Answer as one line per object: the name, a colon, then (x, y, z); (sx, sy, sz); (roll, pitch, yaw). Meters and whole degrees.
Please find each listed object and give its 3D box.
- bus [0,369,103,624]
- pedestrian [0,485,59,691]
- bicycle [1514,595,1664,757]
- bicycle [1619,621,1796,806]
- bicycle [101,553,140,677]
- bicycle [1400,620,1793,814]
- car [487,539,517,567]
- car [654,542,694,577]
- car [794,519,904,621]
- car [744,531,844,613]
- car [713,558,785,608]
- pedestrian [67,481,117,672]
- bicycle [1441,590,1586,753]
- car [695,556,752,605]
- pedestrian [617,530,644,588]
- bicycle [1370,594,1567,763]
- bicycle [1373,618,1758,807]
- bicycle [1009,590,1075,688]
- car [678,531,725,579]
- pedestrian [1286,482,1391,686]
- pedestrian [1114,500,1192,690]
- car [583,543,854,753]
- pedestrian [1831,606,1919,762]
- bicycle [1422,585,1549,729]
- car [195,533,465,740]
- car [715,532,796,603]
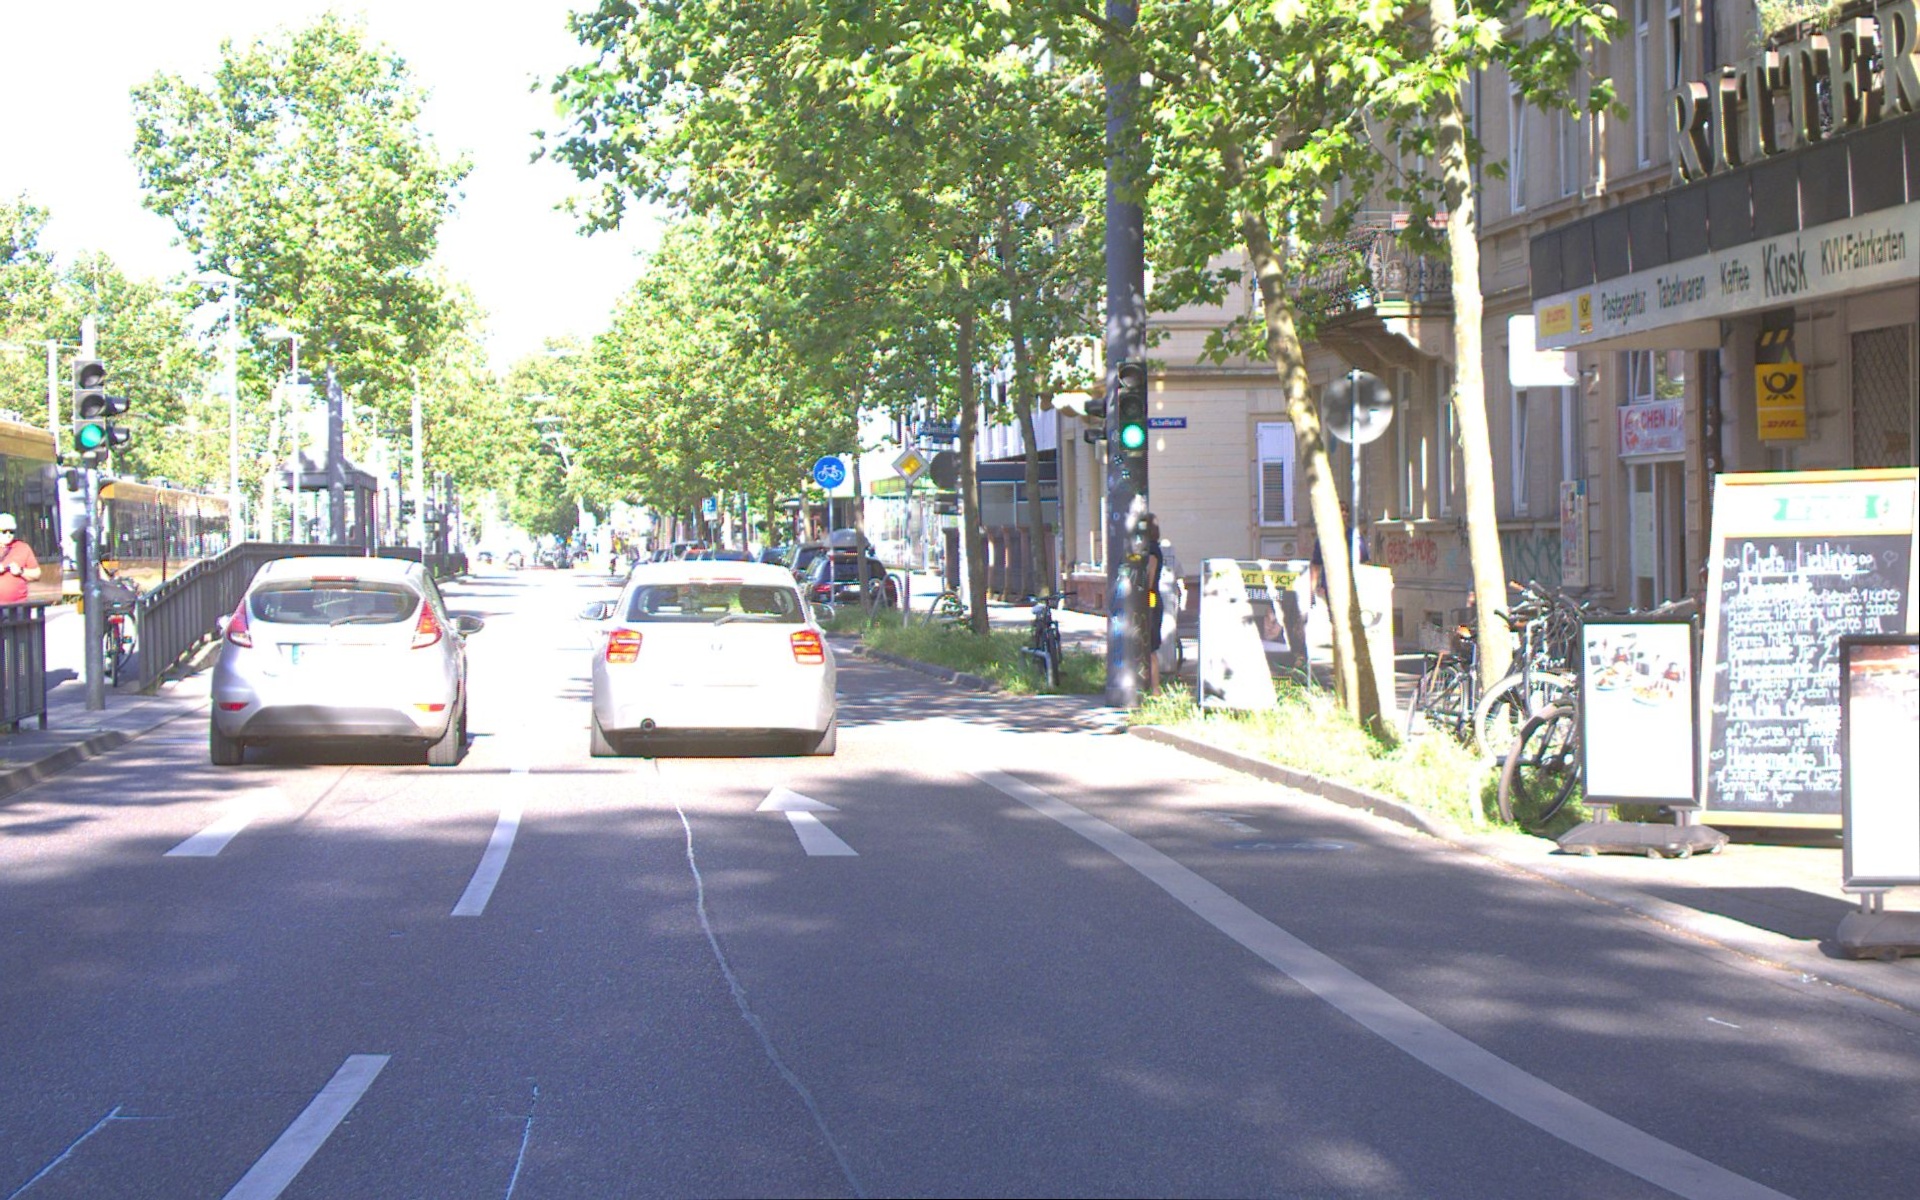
bus: (-14.824, -1.440, 50.344); (2.868, 3.432, 11.613); (-1, 1, -7)
pedestrian: (-9.149, -0.115, 32.507); (1.072, 1.909, 1.127); (-1, 1, -9)
bicycle: (4.117, 0.480, 22.592); (0.442, 0.990, 1.689); (1, 1, -8)
bicycle: (4.364, 0.646, 20.178); (0.442, 0.990, 1.689); (1, 1, -8)
bicycle: (-8.475, 0.135, 34.730); (0.328, 1.210, 1.829); (-1, 1, -13)
bicycle: (3.386, 0.621, 18.322); (2.003, 0.990, 0.444); (1, 1, -9)
car: (-33.031, -3.399, 248.082); (1.993, 2.007, 4.001); (1, 1, -7)
car: (-13.036, -1.872, 156.568); (1.700, 1.529, 3.717); (1, 1, -7)
car: (-2.241, -0.615, 68.239); (1.754, 1.958, 4.738); (0, 1, -7)
car: (-3.627, -0.636, 74.592); (1.797, 1.694, 4.738); (-1, 1, -7)
car: (-6.750, -0.523, 109.567); (1.993, 1.504, 4.598); (1, 0, -7)
pedestrian: (-8.726, -0.240, 34.580); (0.450, 1.896, 0.585); (-1, 1, -14)
bicycle: (3.607, 0.449, 22.506); (0.442, 0.990, 1.689); (1, 1, -8)
car: (-7.908, -0.653, 114.759); (1.669, 1.546, 4.001); (1, 1, -7)
pedestrian: (-11.529, -1.423, 120.329); (0.838, 2.007, 0.648); (1, 1, 0)
bicycle: (3.198, 0.477, 21.768); (0.442, 0.990, 1.689); (1, 1, -21)
bicycle: (3.308, 0.613, 18.803); (2.013, 0.990, 0.444); (1, 1, -9)
bicycle: (0.853, 0.401, 36.155); (0.427, 0.967, 1.751); (1, 1, -7)
car: (-10.569, -1.818, 140.274); (1.724, 1.874, 4.001); (1, 0, -7)
pedestrian: (3.793, -0.163, 34.540); (0.882, 2.007, 0.857); (1, 1, -3)
pedestrian: (1.822, -0.052, 32.501); (0.642, 1.765, 0.869); (1, 1, -1)
car: (-1.892, 0.306, 25.912); (1.762, 1.427, 4.001); (1, 1, -8)
pedestrian: (7.069, 0.632, 26.073); (0.771, 1.157, 0.469); (1, 1, -32)
bicycle: (3.849, 0.404, 25.266); (0.442, 0.990, 1.689); (1, 1, -8)
car: (-4.471, 0.209, 24.833); (1.646, 1.358, 3.760); (1, 1, -7)
car: (-4.987, -0.807, 83.539); (1.691, 1.652, 4.040); (-1, 2, -7)
